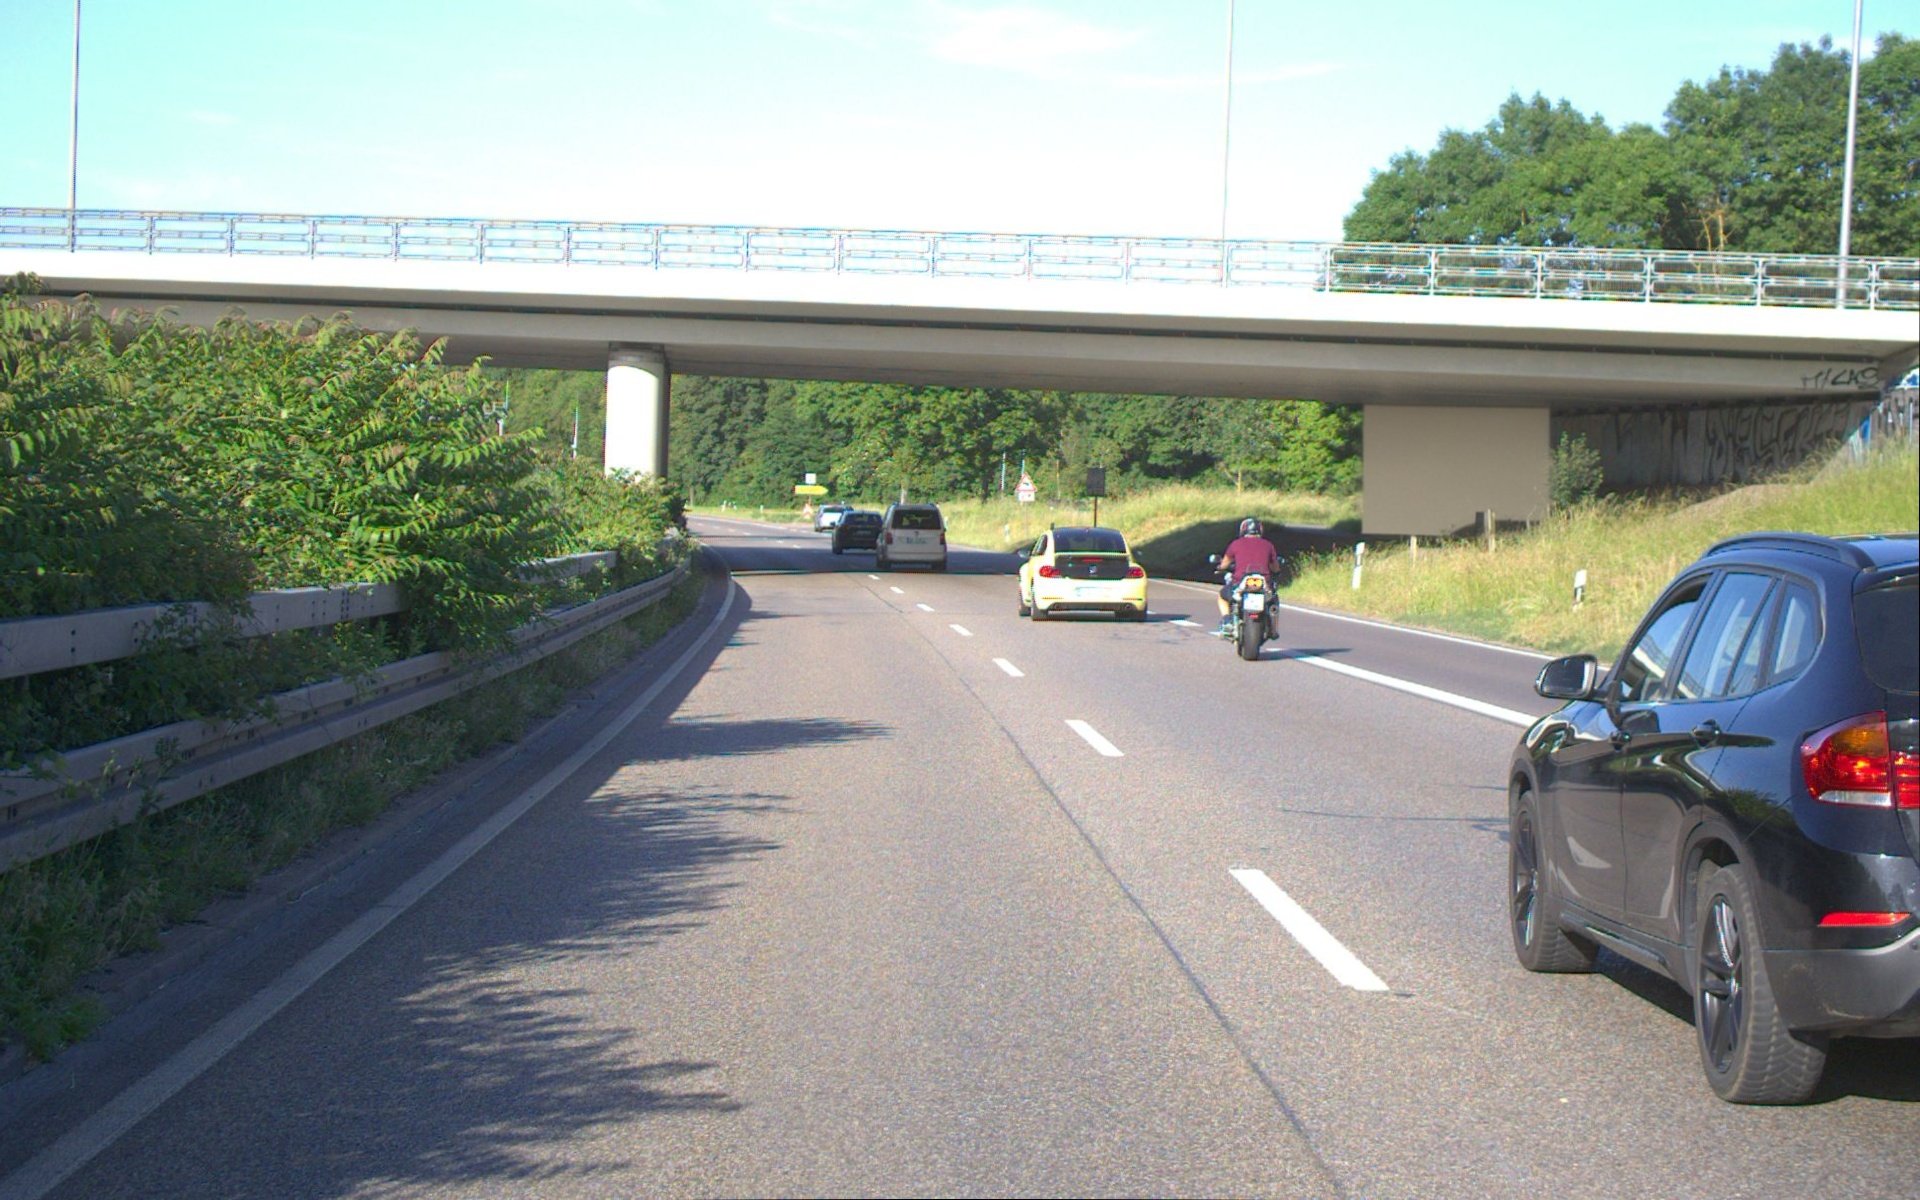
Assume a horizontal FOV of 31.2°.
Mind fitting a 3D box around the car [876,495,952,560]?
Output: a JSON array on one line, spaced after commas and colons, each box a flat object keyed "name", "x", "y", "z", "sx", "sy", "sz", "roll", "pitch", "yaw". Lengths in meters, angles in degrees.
[{"name": "car", "x": -1.289, "y": -1.995, "z": 94.829, "sx": 1.897, "sy": 1.761, "sz": 4.001, "roll": 0, "pitch": 1, "yaw": -4}]

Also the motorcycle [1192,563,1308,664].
[{"name": "motorcycle", "x": 3.350, "y": 0.136, "z": 39.962, "sx": 0.816, "sy": 1.066, "sz": 2.836, "roll": 1, "pitch": 1, "yaw": -6}]

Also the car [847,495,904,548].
[{"name": "car", "x": -2.895, "y": -2.687, "z": 116.964, "sx": 1.897, "sy": 1.761, "sz": 4.001, "roll": 1, "pitch": 2, "yaw": -2}]

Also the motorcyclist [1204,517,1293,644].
[{"name": "motorcyclist", "x": 3.351, "y": -0.240, "z": 40.027, "sx": 0.816, "sy": 1.442, "sz": 1.094, "roll": 1, "pitch": 1, "yaw": -6}]

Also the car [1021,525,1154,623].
[{"name": "car", "x": 1.982, "y": -0.440, "z": 54.423, "sx": 1.897, "sy": 1.466, "sz": 4.000, "roll": 1, "pitch": 1, "yaw": -1}]

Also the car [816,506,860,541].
[{"name": "car", "x": -6.345, "y": -3.981, "z": 178.623, "sx": 1.868, "sy": 1.679, "sz": 4.001, "roll": 2, "pitch": 1, "yaw": -7}]

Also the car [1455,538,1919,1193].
[{"name": "car", "x": 2.779, "y": 0.590, "z": 10.470, "sx": 1.698, "sy": 1.501, "sz": 4.580, "roll": 0, "pitch": 2, "yaw": -2}]
